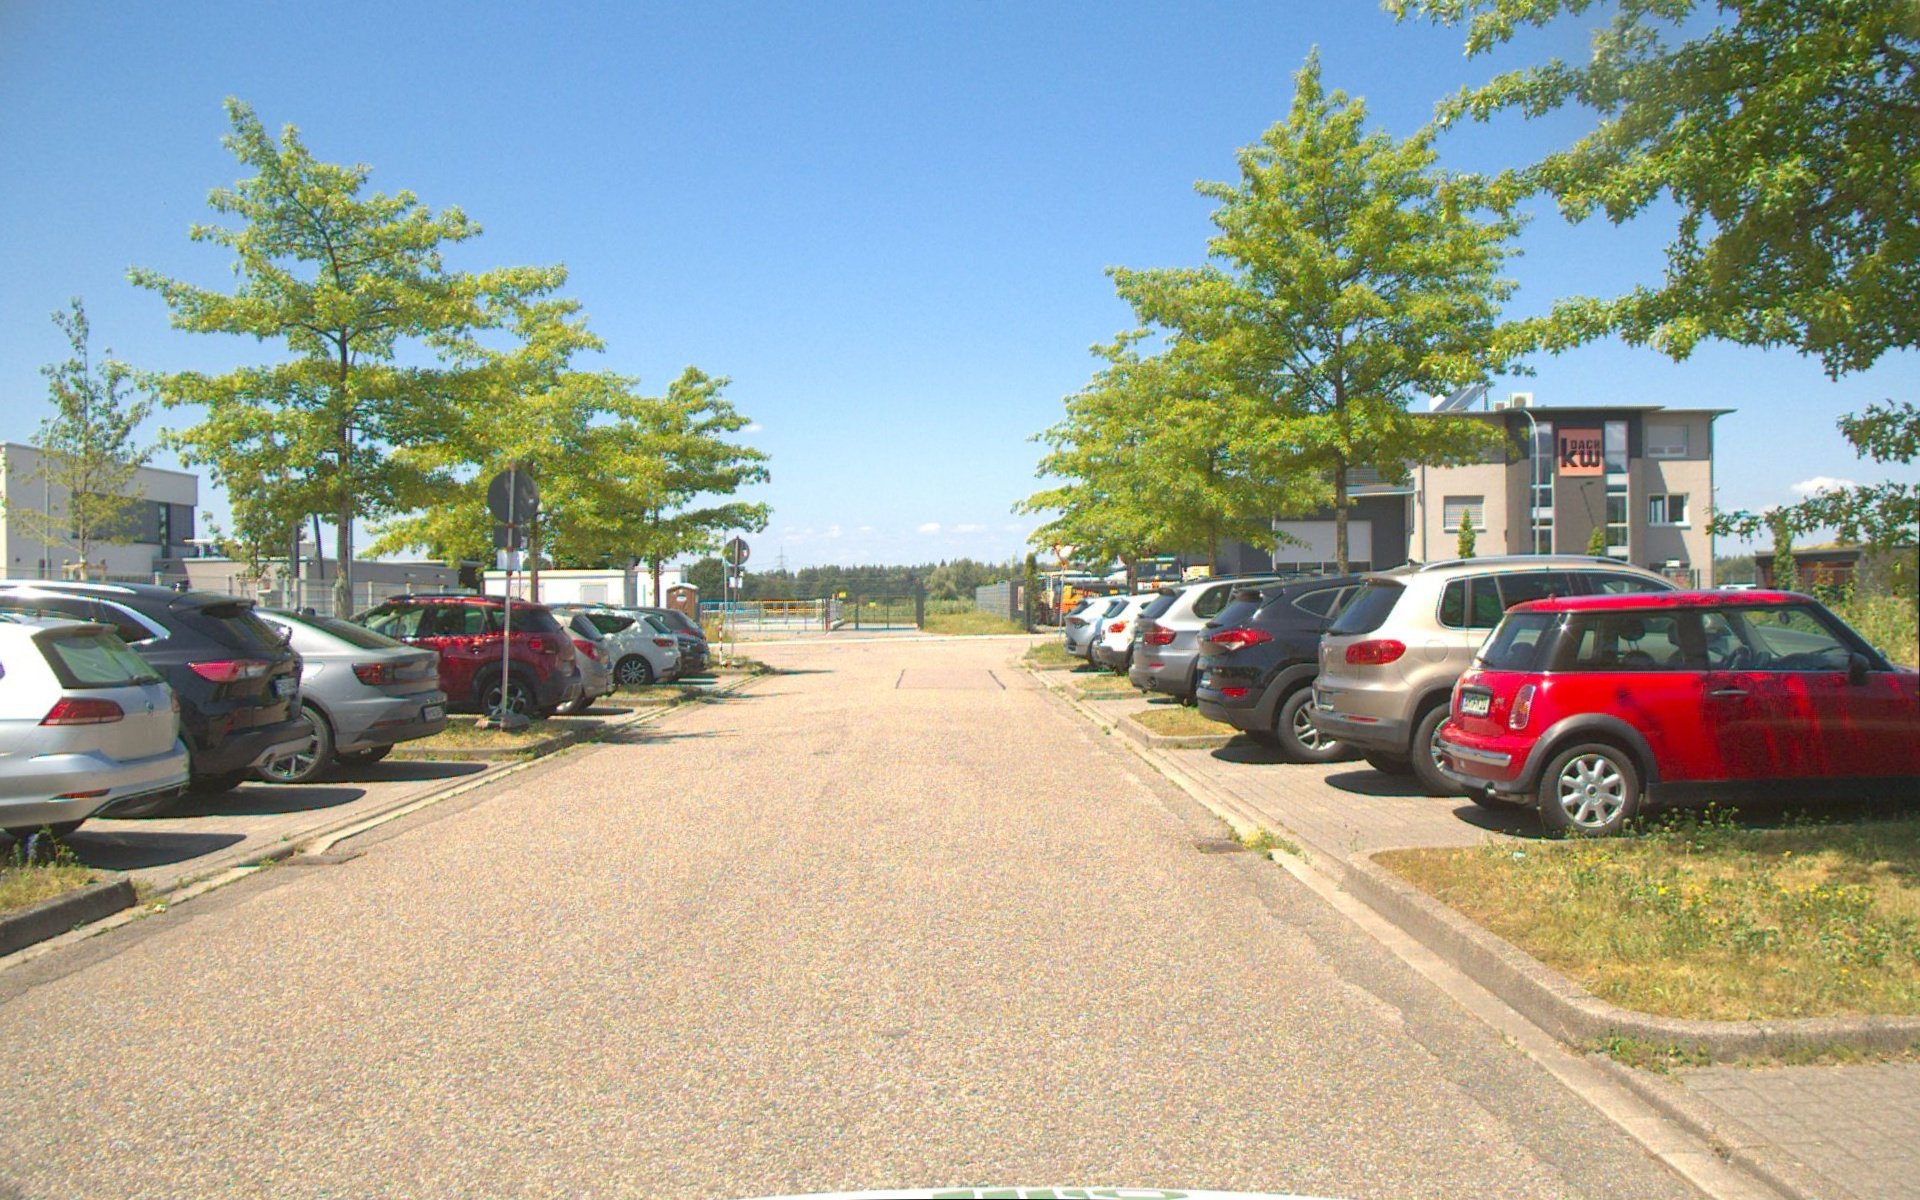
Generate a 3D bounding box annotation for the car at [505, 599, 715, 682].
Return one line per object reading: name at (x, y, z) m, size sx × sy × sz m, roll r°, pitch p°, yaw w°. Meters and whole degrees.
car at (-6.957, 0.802, 33.182) m, size 3.850 × 1.547 × 1.783 m, roll 1°, pitch -1°, yaw -4°

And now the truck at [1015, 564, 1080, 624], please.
truck at (4.557, -0.322, 87.446) m, size 2.862 × 2.989 × 6.933 m, roll -1°, pitch 0°, yaw -2°

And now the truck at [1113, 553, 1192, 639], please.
truck at (9.432, -0.196, 81.656) m, size 2.862 × 3.998 × 6.933 m, roll -1°, pitch 0°, yaw -2°

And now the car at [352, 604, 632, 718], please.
car at (-6.672, 0.852, 23.878) m, size 3.585 × 1.535 × 1.729 m, roll 1°, pitch 0°, yaw -5°

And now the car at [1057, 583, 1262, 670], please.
car at (4.312, 0.562, 36.139) m, size 4.192 × 1.673 × 1.850 m, roll -2°, pitch 0°, yaw -1°

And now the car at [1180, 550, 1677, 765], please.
car at (4.269, 0.506, 15.496) m, size 4.090 × 1.726 × 1.781 m, roll -2°, pitch 0°, yaw -2°

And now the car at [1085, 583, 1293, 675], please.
car at (4.602, 0.577, 33.616) m, size 3.907 × 1.673 × 1.837 m, roll -2°, pitch 0°, yaw -2°

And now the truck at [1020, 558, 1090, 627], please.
truck at (4.419, -0.344, 78.372) m, size 2.671 × 3.115 × 6.933 m, roll -1°, pitch 0°, yaw -2°

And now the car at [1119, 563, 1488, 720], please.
car at (4.428, 0.512, 21.809) m, size 4.360 × 1.799 × 1.992 m, roll -2°, pitch 0°, yaw -3°

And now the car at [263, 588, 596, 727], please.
car at (-6.723, 0.711, 21.263) m, size 3.661 × 1.650 × 1.816 m, roll 1°, pitch 0°, yaw 0°

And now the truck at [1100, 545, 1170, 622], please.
truck at (9.555, -0.872, 90.886) m, size 2.862 × 3.998 × 6.933 m, roll -1°, pitch 0°, yaw -2°

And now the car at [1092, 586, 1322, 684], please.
car at (4.583, 0.647, 31.119) m, size 3.985 × 1.636 × 1.901 m, roll -2°, pitch -1°, yaw 0°

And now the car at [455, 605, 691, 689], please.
car at (-7.116, 0.852, 30.754) m, size 3.995 × 1.449 × 1.872 m, roll 1°, pitch 0°, yaw -5°

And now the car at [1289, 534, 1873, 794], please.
car at (4.655, 0.459, 12.796) m, size 3.796 × 1.707 × 1.782 m, roll -2°, pitch 0°, yaw -1°

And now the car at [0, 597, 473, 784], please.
car at (-6.752, 0.777, 15.010) m, size 4.108 × 1.506 × 1.712 m, roll 1°, pitch 0°, yaw -1°

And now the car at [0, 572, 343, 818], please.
car at (-6.944, 0.654, 12.467) m, size 3.910 × 1.708 × 1.775 m, roll 1°, pitch 0°, yaw -6°

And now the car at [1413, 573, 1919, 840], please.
car at (4.858, 0.609, 10.576) m, size 3.388 × 1.441 × 1.754 m, roll -2°, pitch 0°, yaw -2°

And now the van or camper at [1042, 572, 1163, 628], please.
van or camper at (5.957, -0.018, 69.502) m, size 4.836 × 2.201 × 2.000 m, roll -1°, pitch 1°, yaw -2°

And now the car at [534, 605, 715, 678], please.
car at (-7.155, 0.868, 35.537) m, size 3.554 × 1.461 × 1.725 m, roll 1°, pitch -1°, yaw -4°

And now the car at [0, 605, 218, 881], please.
car at (-6.754, 0.759, 9.783) m, size 3.957 × 1.486 × 1.603 m, roll 1°, pitch 0°, yaw -4°
